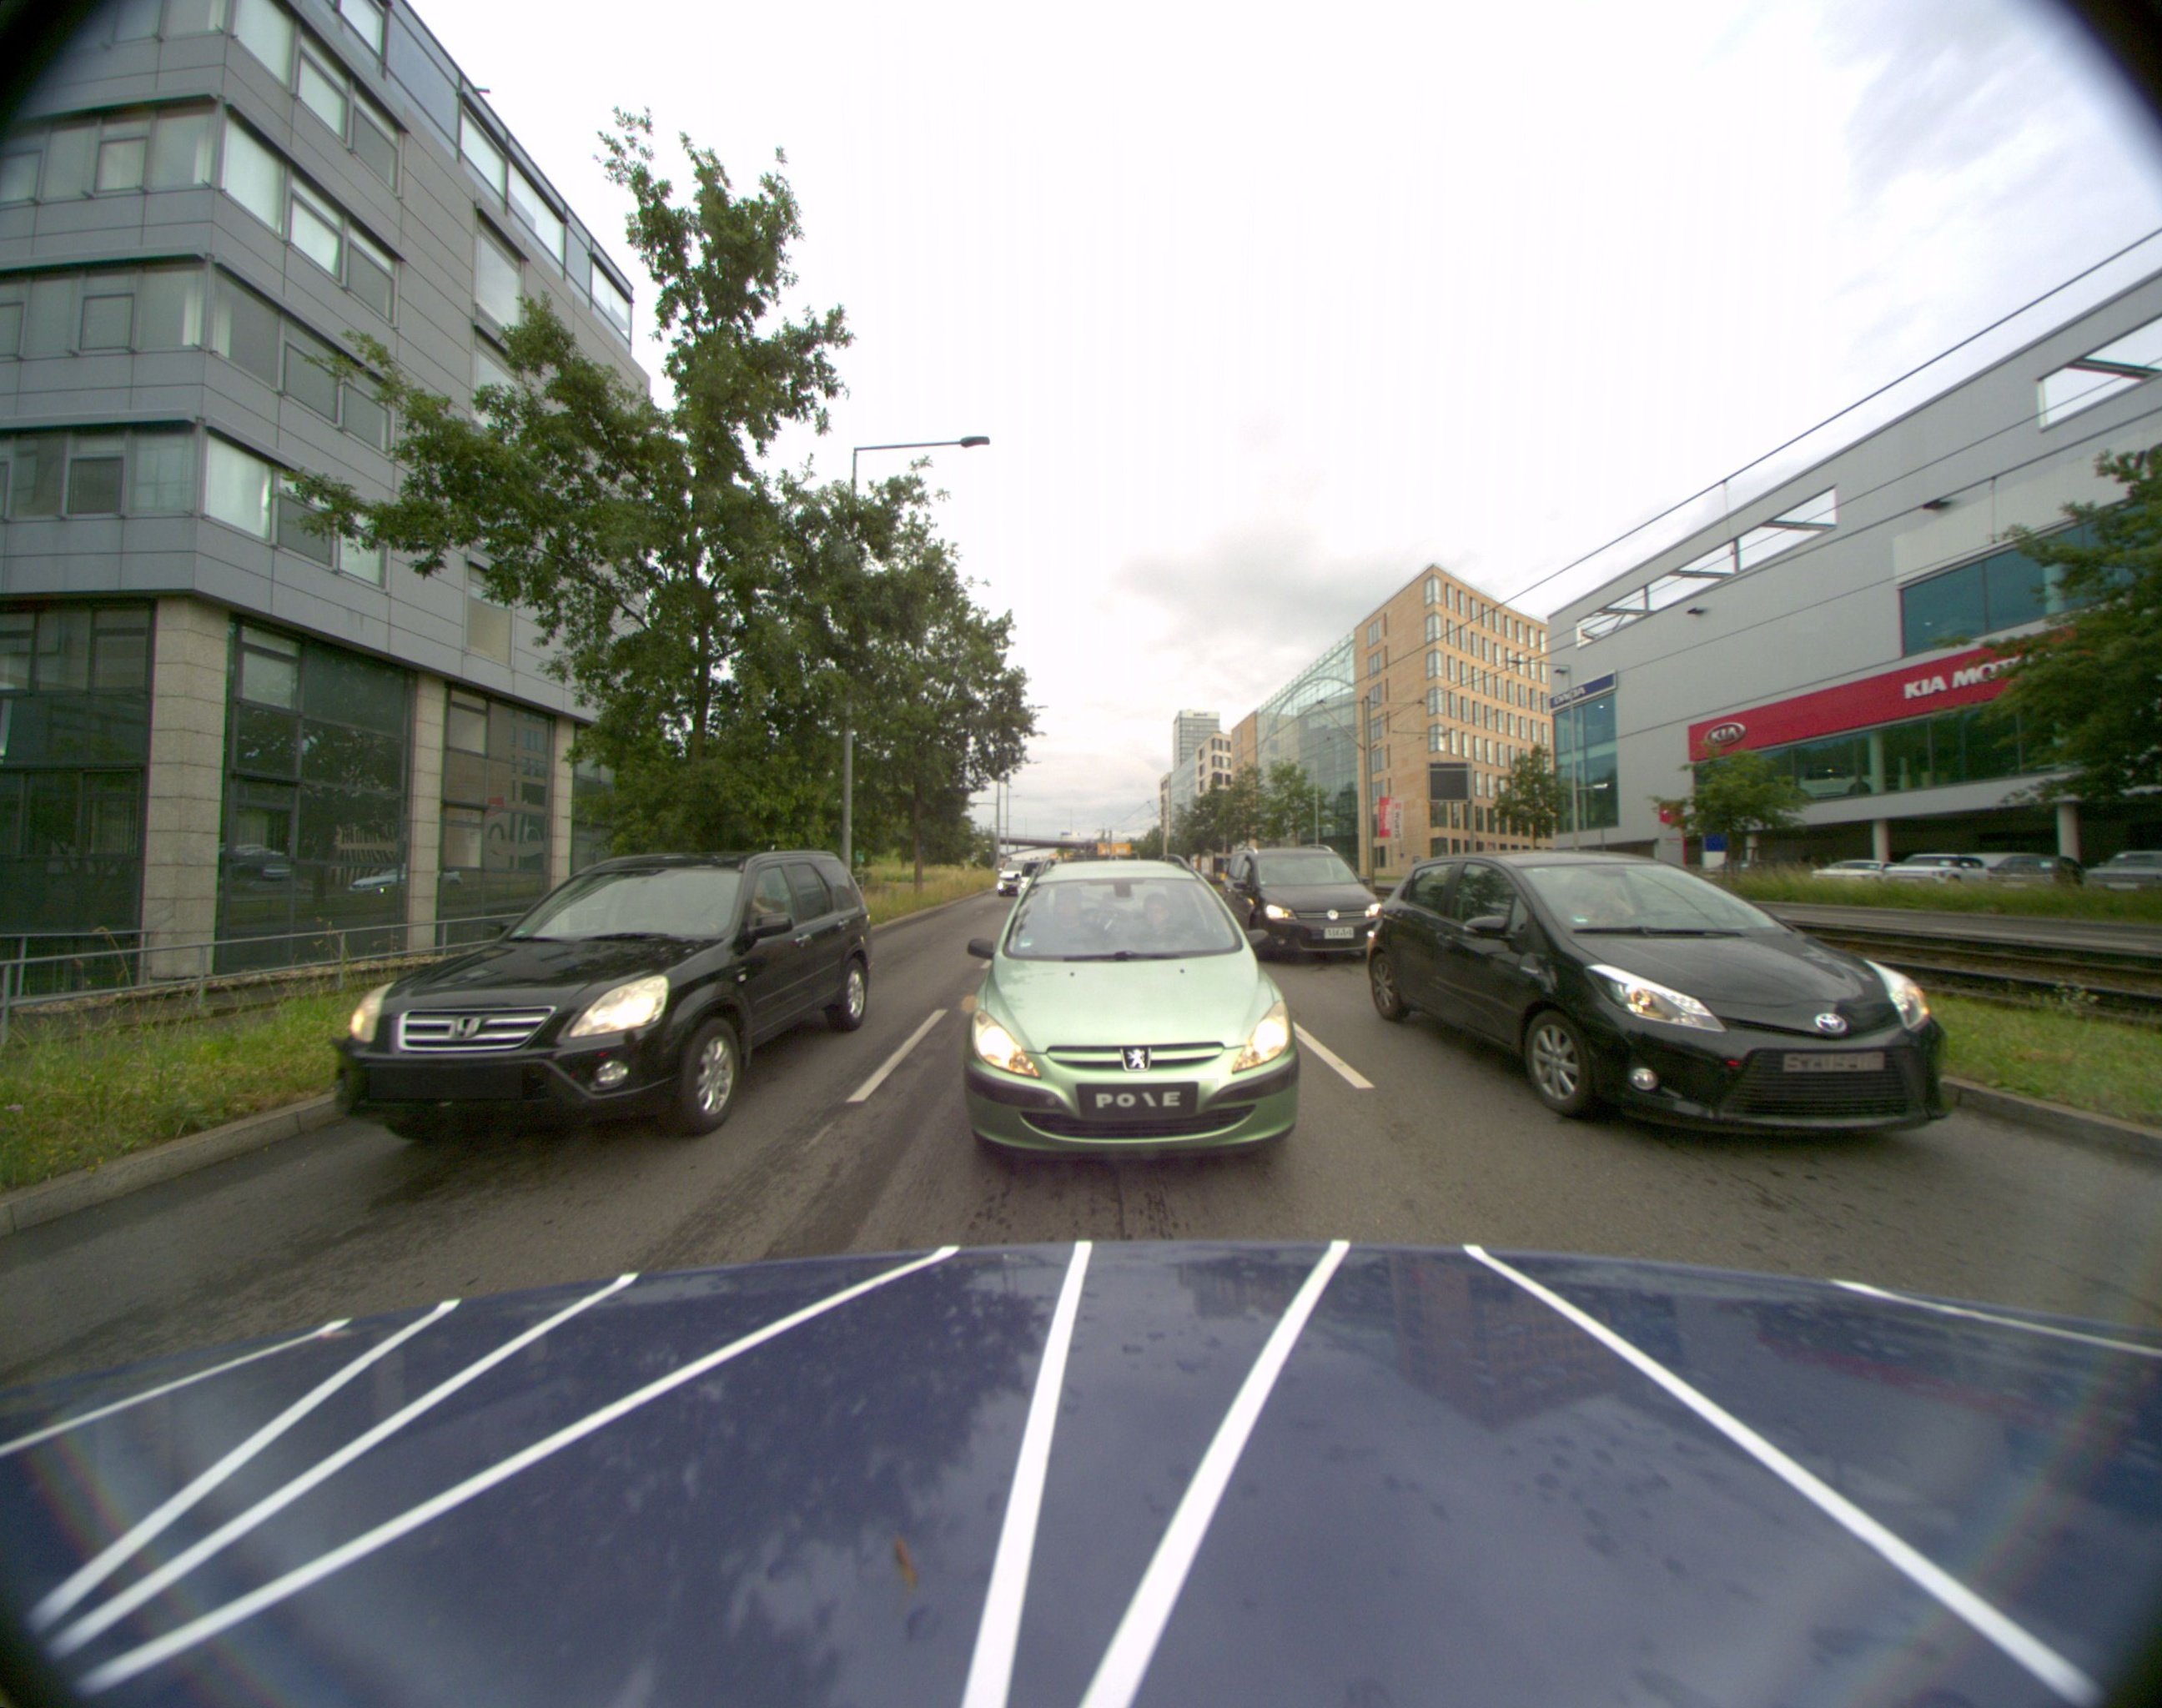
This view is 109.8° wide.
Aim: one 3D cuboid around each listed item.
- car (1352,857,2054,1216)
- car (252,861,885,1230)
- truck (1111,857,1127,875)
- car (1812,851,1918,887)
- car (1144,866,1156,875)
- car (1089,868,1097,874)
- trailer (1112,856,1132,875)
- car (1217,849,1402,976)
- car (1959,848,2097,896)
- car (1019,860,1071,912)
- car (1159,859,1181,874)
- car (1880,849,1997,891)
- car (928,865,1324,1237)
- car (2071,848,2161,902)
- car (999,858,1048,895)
[{"bbox_3d":[3.436,0.813,5.266,1.704,1.523,3.826,-1,0,-1],"label":"car"},{"bbox_3d":[-2.956,0.921,5.724,1.759,1.649,4.338,-1,0,0],"label":"car"},{"bbox_3d":[9.297,2.782,185.375,3.144,4.219,7.026,2,0,-3],"label":"truck"},{"bbox_3d":[31.750,0.583,30.769,3.668,1.181,1.696,-4,1,-22],"label":"car"},{"bbox_3d":[12.366,2.926,136.694,1.588,1.504,4.101,1,0,-3],"label":"car"},{"bbox_3d":[3.283,4.805,209.581,1.655,1.428,3.876,-2,1,-7],"label":"car"},{"bbox_3d":[9.642,2.640,179.197,3.143,4.304,13.277,2,0,-3],"label":"trailer"},{"bbox_3d":[3.319,0.751,11.903,1.786,1.597,4.318,-1,0,3],"label":"car"},{"bbox_3d":[31.611,0.575,25.383,3.528,1.344,1.696,-4,1,-17],"label":"car"},{"bbox_3d":[-1.187,0.969,24.225,1.518,1.495,3.167,-1,0,-4],"label":"car"},{"bbox_3d":[11.416,1.585,97.704,1.999,1.709,4.839,1,0,-4],"label":"car"},{"bbox_3d":[31.773,0.567,28.164,3.668,1.287,1.696,-4,1,-22],"label":"car"},{"bbox_3d":[0.182,0.894,5.512,1.704,1.523,4.370,-1,0,-1],"label":"car"},{"bbox_3d":[32.024,0.595,22.877,3.528,1.344,1.696,-4,1,-20],"label":"car"},{"bbox_3d":[-2.495,0.968,33.726,1.828,1.495,3.766,-1,0,0],"label":"car"}]
